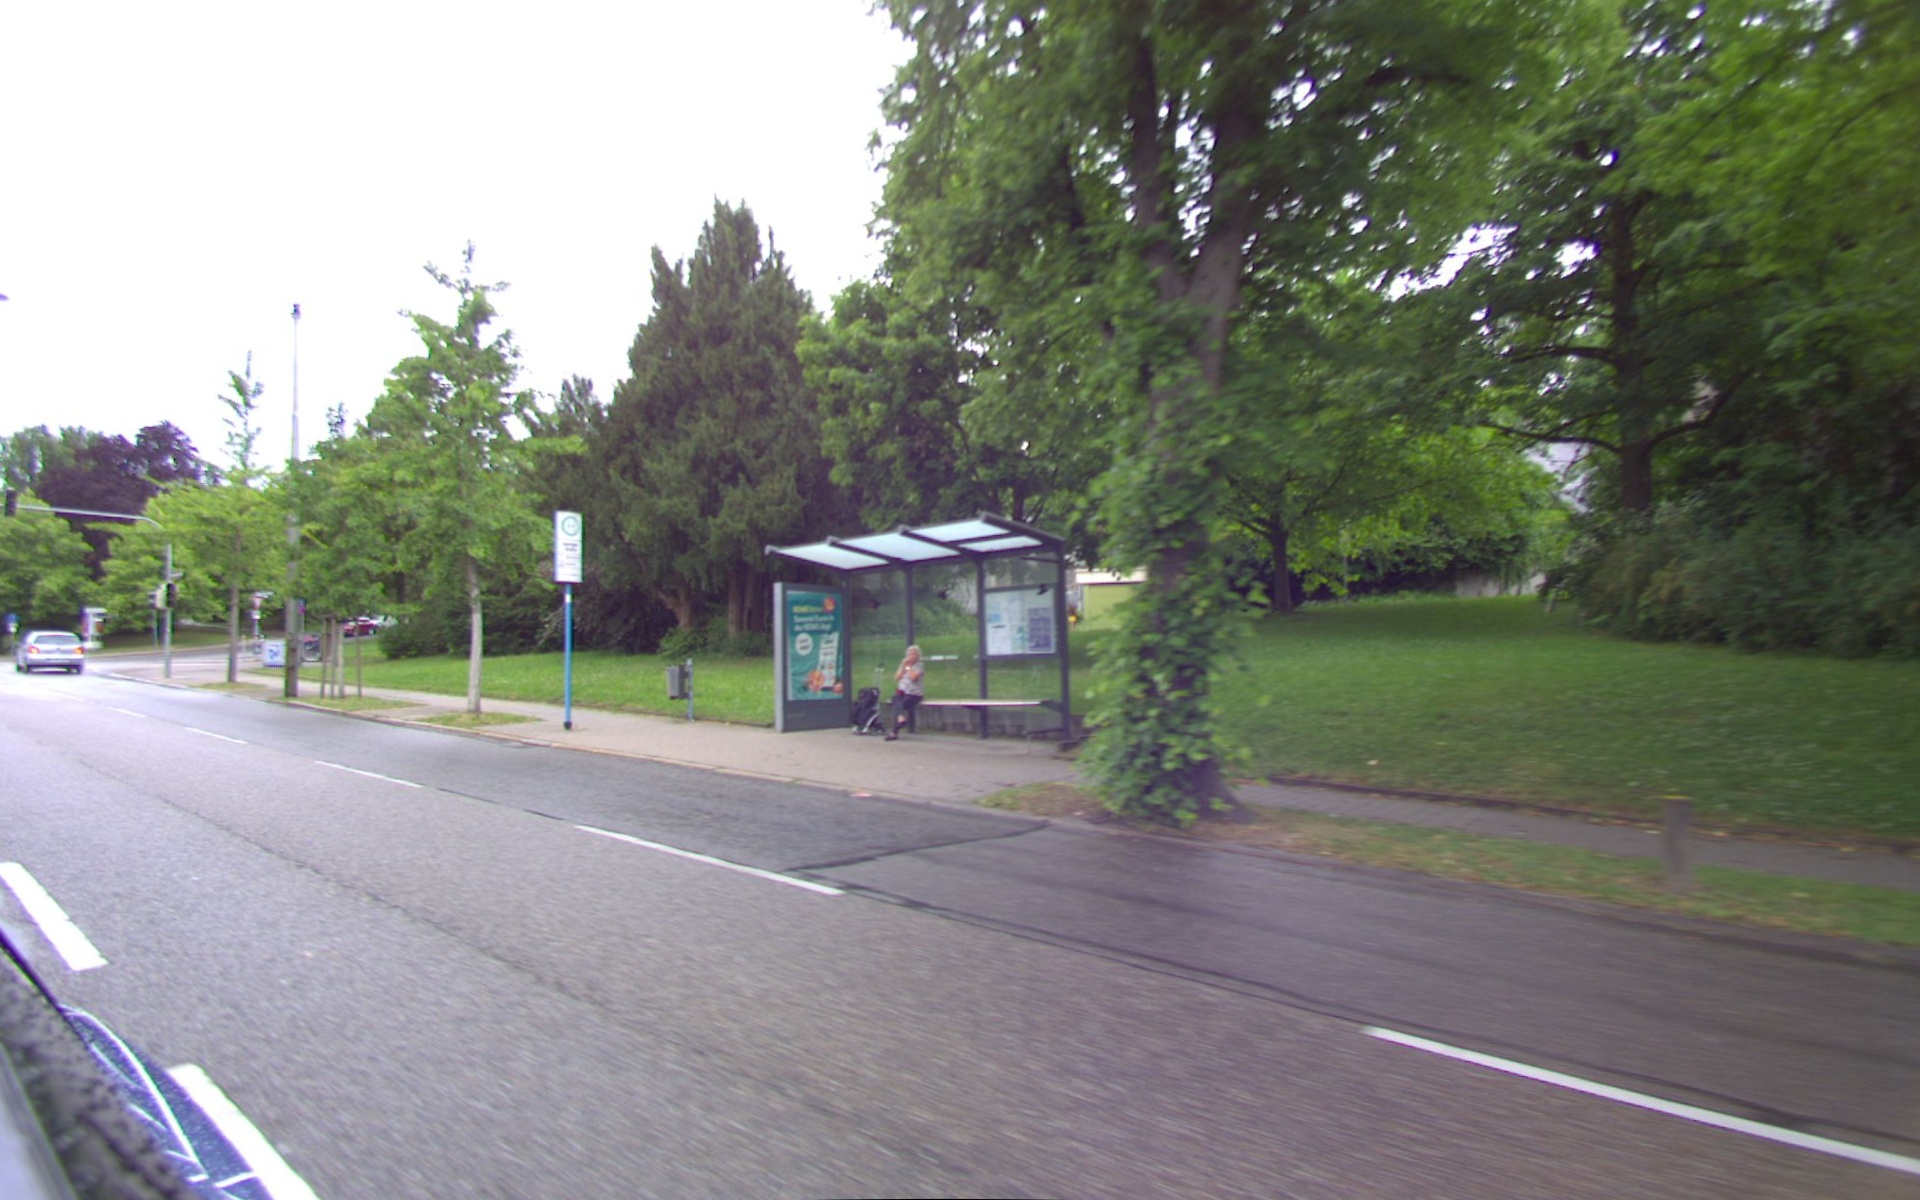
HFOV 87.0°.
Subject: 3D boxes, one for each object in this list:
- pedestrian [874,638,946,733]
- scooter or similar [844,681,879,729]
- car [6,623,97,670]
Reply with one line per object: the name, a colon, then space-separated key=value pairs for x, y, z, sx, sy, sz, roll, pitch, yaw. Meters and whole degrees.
pedestrian: x=-0.735 y=1.233 z=14.838 sx=0.766 sy=1.311 sz=0.745 roll=1 pitch=-1 yaw=-41
scooter or similar: x=-1.490 y=1.578 z=15.281 sx=0.244 sy=0.671 sz=0.533 roll=-1 pitch=0 yaw=-45
car: x=-32.519 y=1.658 z=36.192 sx=3.998 sy=1.561 sz=1.852 roll=-2 pitch=-5 yaw=41
